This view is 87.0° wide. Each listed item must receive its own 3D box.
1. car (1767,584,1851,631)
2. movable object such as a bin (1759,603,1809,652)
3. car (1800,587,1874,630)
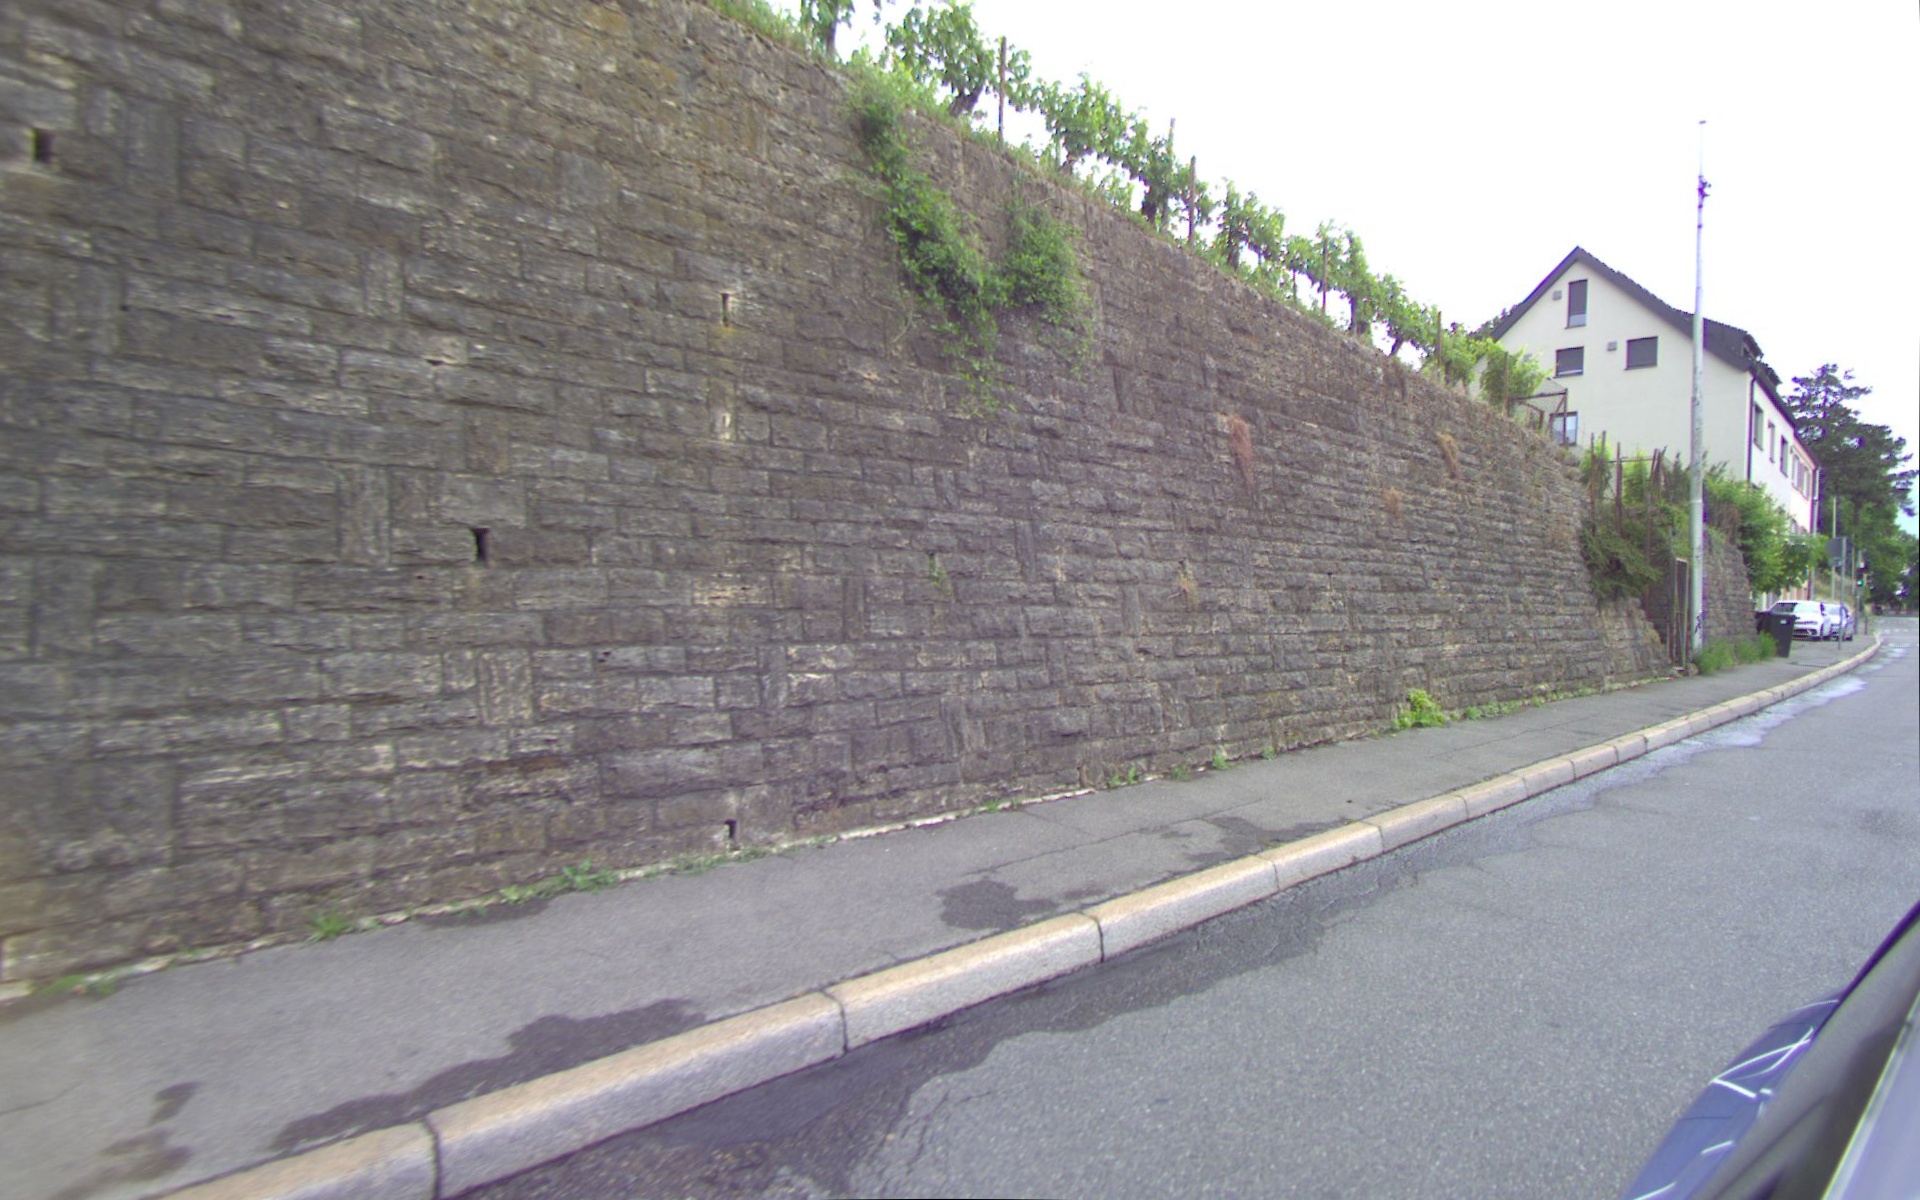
[{"bbox_3d":[30.601,0.236,36.443,3.986,1.595,1.796,-1,0,-42],"label":"car"},{"bbox_3d":[19.782,0.648,24.301,0.860,1.141,0.810,0,0,-43],"label":"movable object such as a bin"},{"bbox_3d":[34.499,0.281,39.783,4.177,1.595,1.730,-1,0,-42],"label":"car"}]
